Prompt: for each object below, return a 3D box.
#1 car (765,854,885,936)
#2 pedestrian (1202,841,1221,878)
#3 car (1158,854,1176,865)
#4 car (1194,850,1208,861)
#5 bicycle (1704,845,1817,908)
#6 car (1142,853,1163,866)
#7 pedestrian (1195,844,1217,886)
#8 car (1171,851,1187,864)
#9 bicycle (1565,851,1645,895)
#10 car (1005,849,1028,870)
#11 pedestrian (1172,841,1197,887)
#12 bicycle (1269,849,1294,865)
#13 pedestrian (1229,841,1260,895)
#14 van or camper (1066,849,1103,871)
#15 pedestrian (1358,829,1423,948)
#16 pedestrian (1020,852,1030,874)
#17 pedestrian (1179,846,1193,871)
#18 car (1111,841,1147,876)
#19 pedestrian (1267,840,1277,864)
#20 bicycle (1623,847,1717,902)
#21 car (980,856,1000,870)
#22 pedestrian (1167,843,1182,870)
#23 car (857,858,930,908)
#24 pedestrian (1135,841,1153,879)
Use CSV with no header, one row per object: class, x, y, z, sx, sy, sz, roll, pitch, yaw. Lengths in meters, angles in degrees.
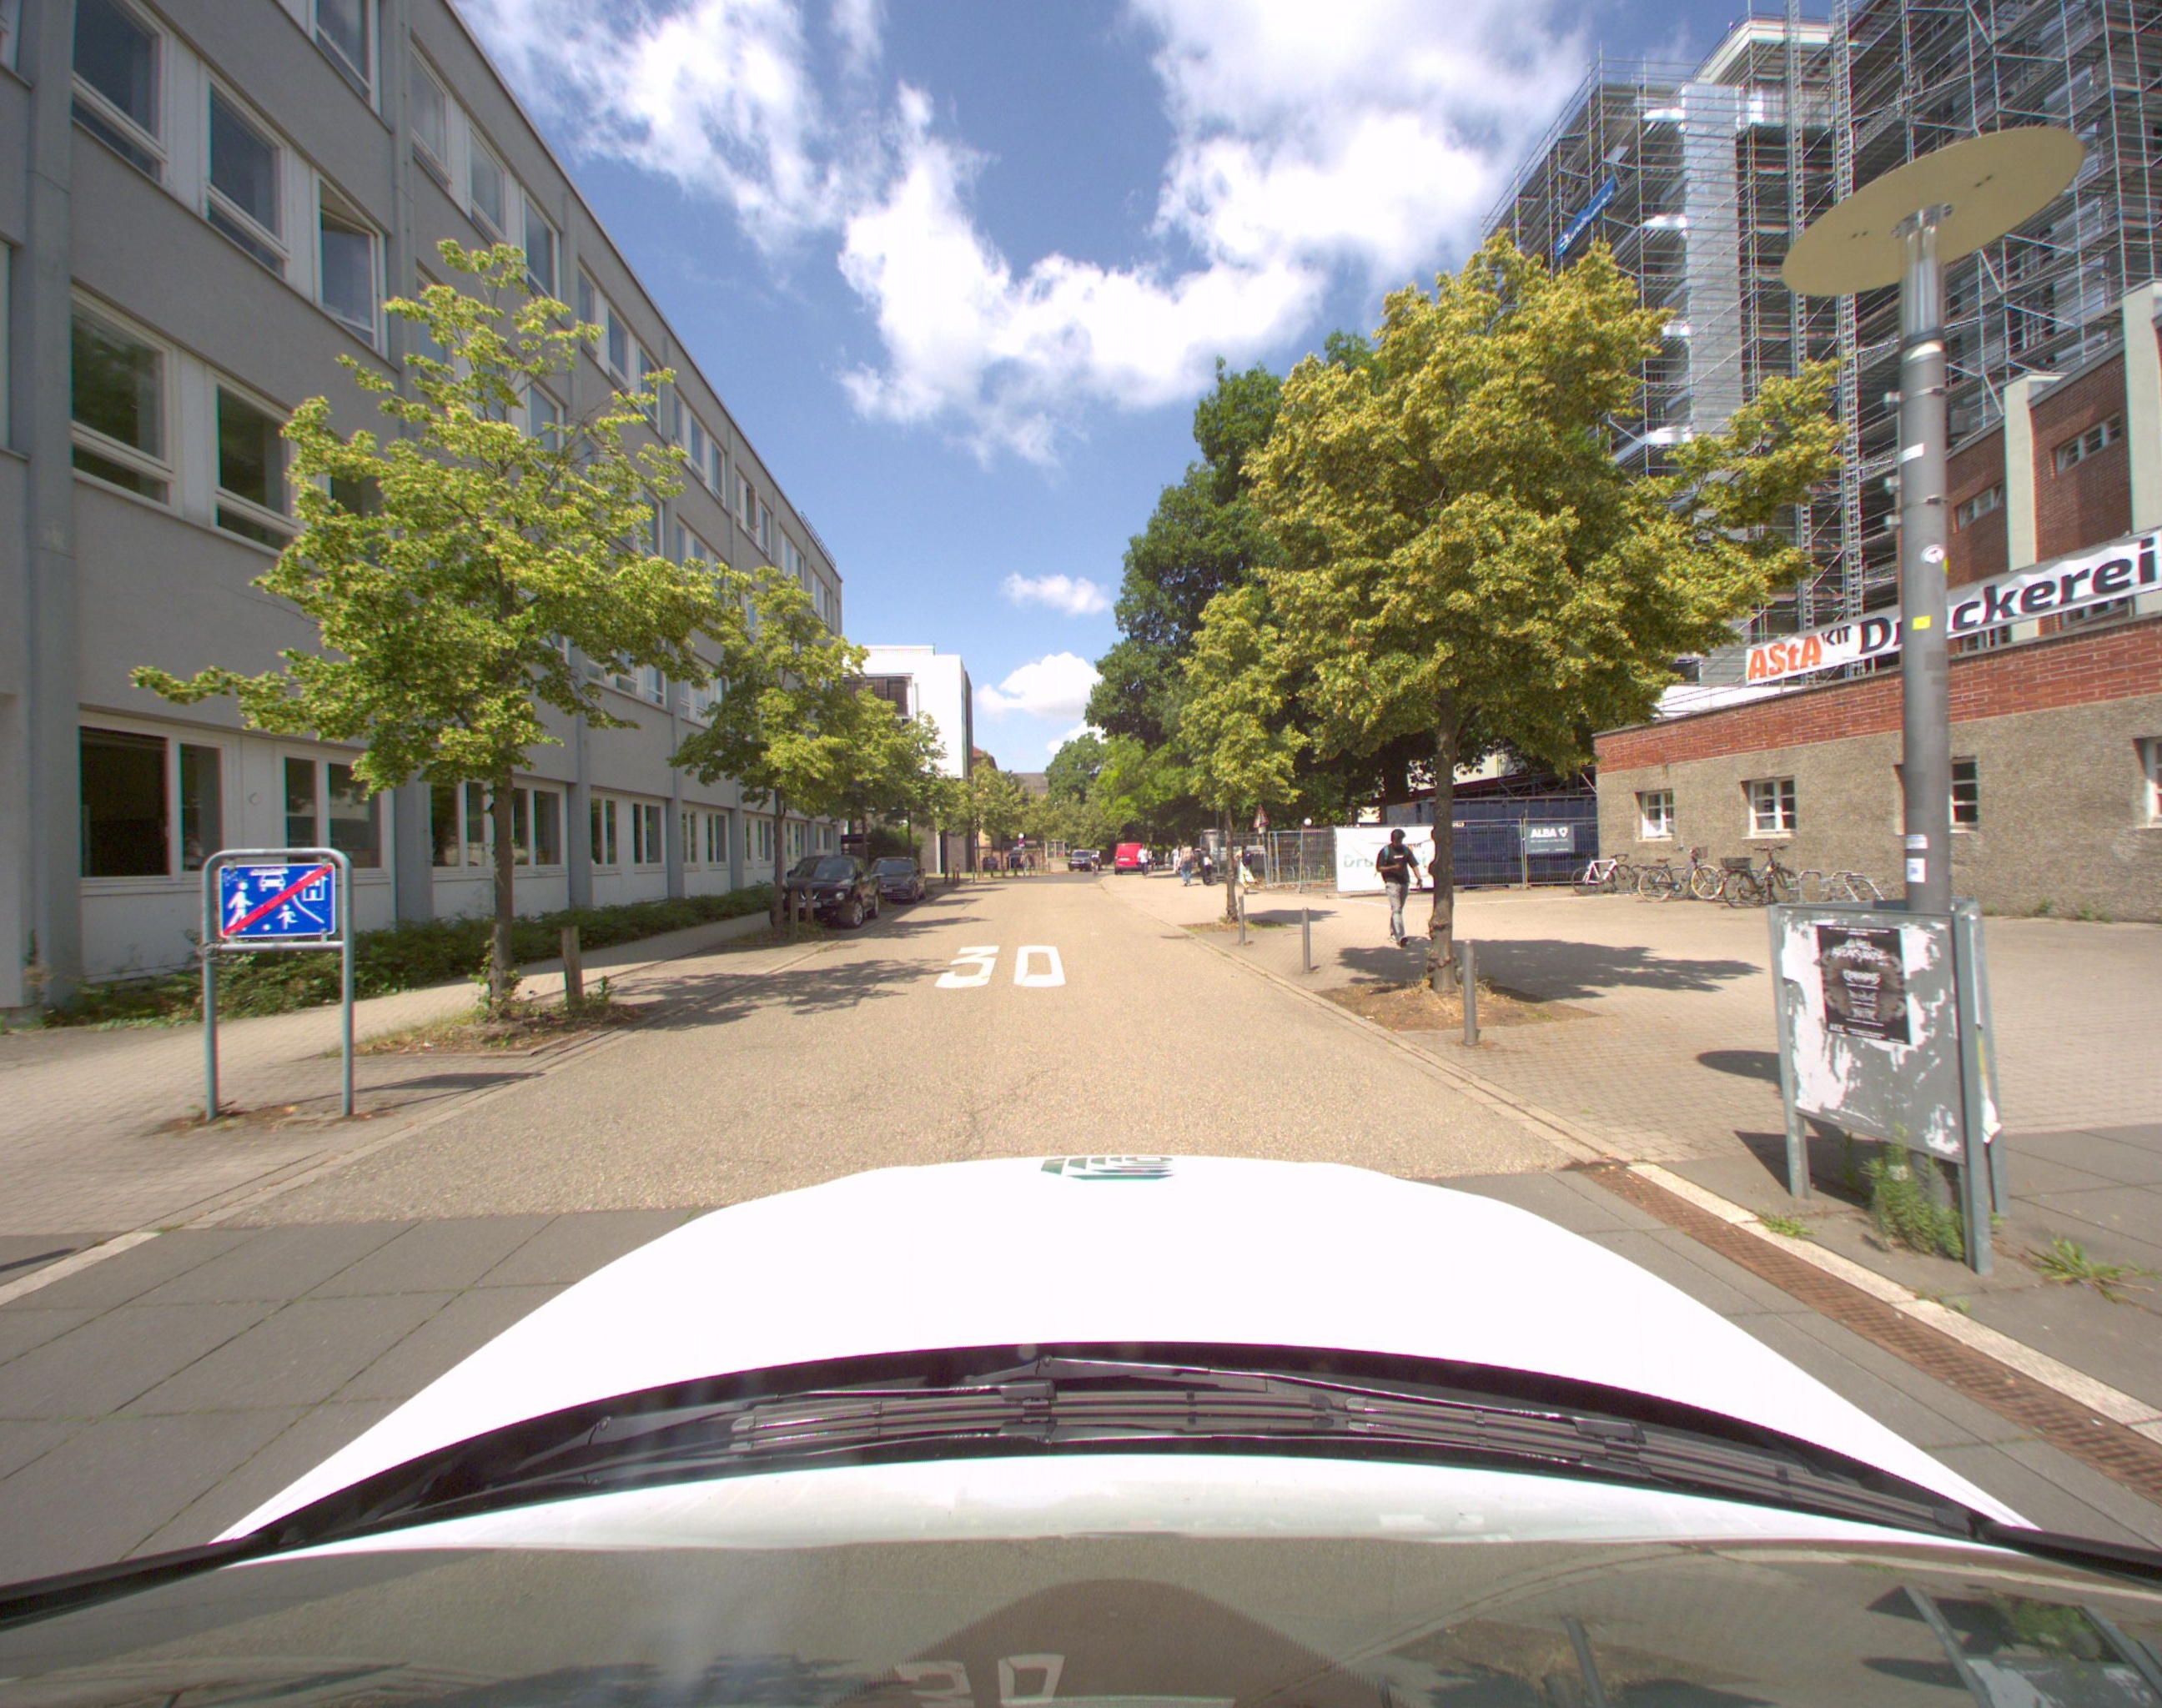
car,-5.593,0.817,18.273,1.694,1.564,4.060,-2,0,-5
pedestrian,5.845,0.240,36.447,0.709,1.631,0.712,-2,-1,4
car,11.336,0.702,107.618,1.603,1.388,4.018,-2,0,17
car,19.198,0.241,130.424,1.603,1.816,4.018,-2,0,17
bicycle,12.690,0.412,15.220,1.802,1.109,0.447,-2,0,-4
car,8.809,0.631,100.368,1.746,1.522,4.130,-2,0,17
pedestrian,4.839,0.422,31.511,0.666,1.600,0.986,-2,0,2
car,13.974,0.479,115.937,1.603,1.679,4.018,-2,0,17
bicycle,12.631,0.450,19.634,1.668,1.003,0.447,-2,0,-4
car,-6.609,0.548,82.642,2.172,1.926,5.175,-2,0,-6
pedestrian,4.025,0.387,31.706,0.847,1.764,0.716,-2,0,0
bicycle,12.784,0.182,51.954,0.515,0.957,1.794,-3,-1,-23
pedestrian,5.207,0.434,25.994,0.649,1.666,0.902,-2,0,-8
van or camper,0.397,0.561,74.905,1.938,1.923,5.443,-1,0,16
pedestrian,4.598,0.491,12.137,0.639,1.697,0.792,-2,0,1
pedestrian,-4.567,0.693,65.963,0.581,1.764,0.913,-2,0,7
pedestrian,7.102,0.302,54.942,0.749,1.710,0.557,-1,-1,-40
car,2.905,0.251,48.323,1.839,1.891,4.899,-2,0,6
pedestrian,14.469,-0.138,61.747,0.541,1.837,0.762,-2,-1,3
bicycle,12.484,0.425,17.265,1.698,1.109,0.447,-2,0,-4
car,-9.167,0.931,82.410,1.814,1.324,3.761,-2,0,-5
pedestrian,6.417,0.204,55.813,0.727,1.821,0.622,-1,-1,-40
car,-6.025,0.871,26.639,1.775,1.461,4.251,0,0,-5
pedestrian,2.997,0.274,38.908,0.690,1.781,0.790,-2,0,12
